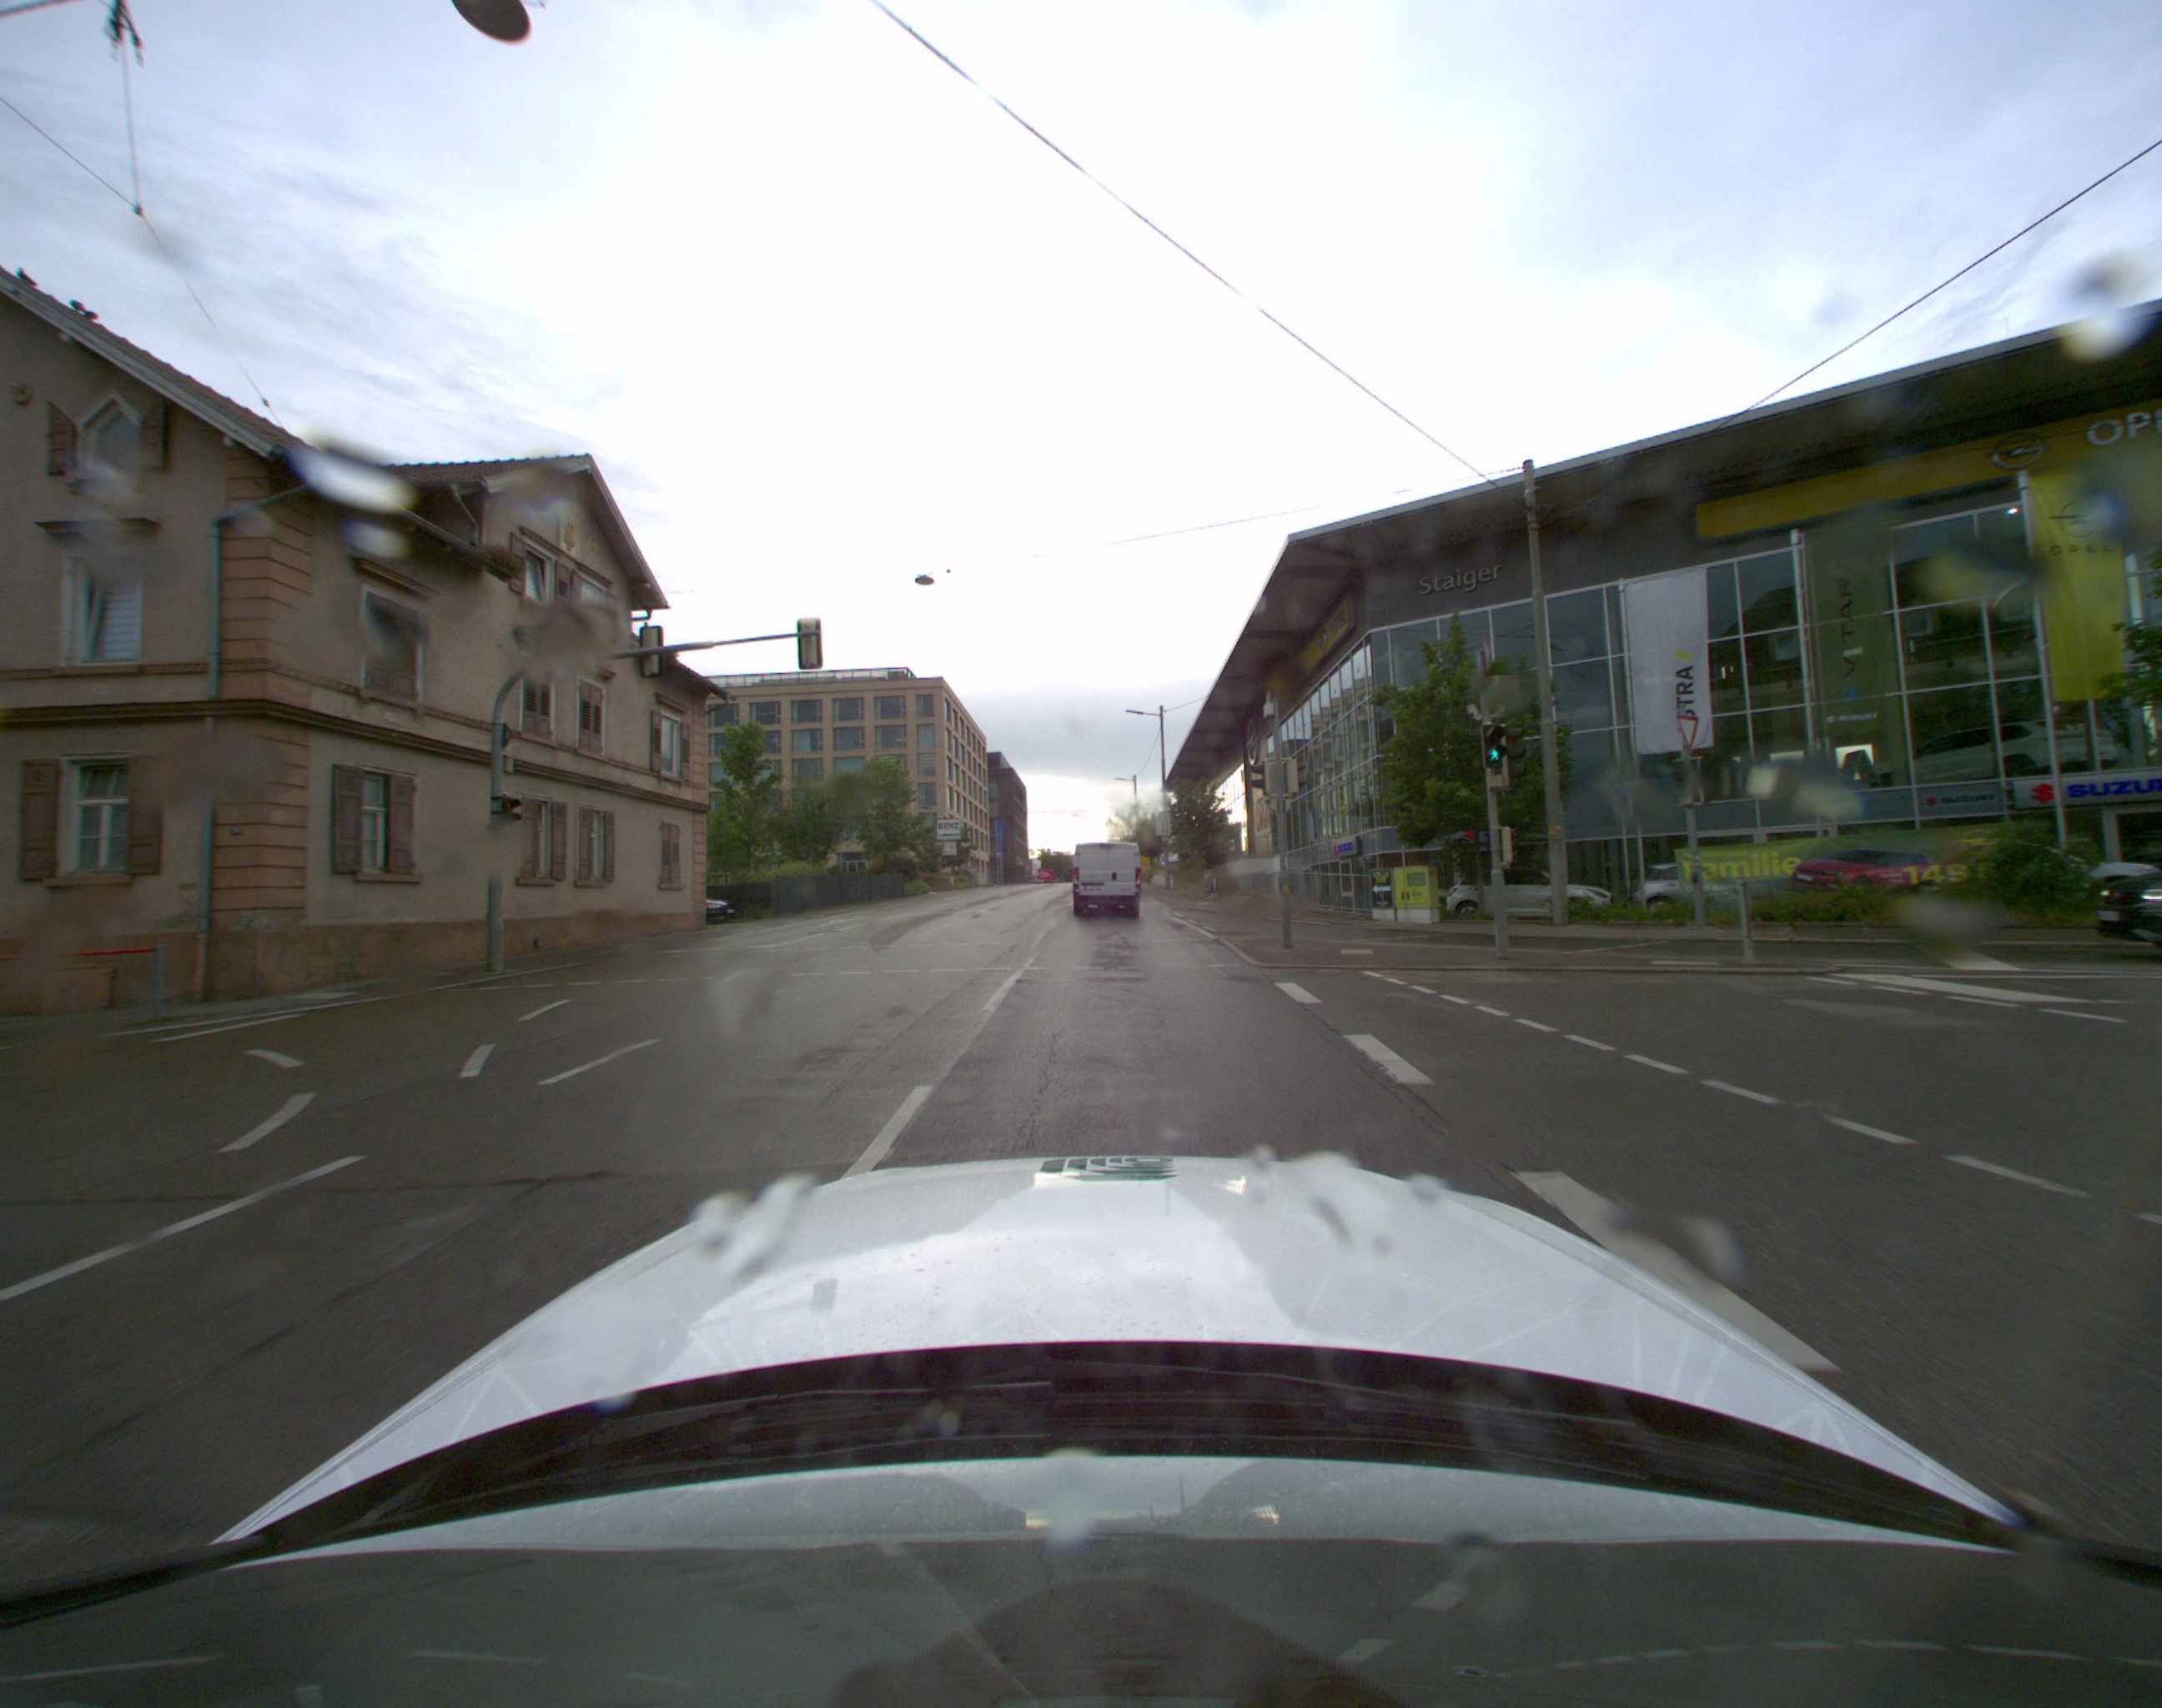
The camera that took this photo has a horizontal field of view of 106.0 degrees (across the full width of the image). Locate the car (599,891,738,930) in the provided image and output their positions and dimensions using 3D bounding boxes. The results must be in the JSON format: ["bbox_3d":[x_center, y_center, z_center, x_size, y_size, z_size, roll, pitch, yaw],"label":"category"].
[{"bbox_3d":[-14.203,1.936,28.191,3.978,1.163,1.605,-1,-2,-3],"label":"car"}]

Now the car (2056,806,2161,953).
[{"bbox_3d":[14.193,0.183,8.857,4.199,1.663,1.816,-4,-2,36],"label":"car"}]

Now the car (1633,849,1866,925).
[{"bbox_3d":[15.334,0.808,19.003,3.948,1.530,1.837,-4,-4,33],"label":"car"}]

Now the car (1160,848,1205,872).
[{"bbox_3d":[8.106,0.511,64.447,1.975,1.711,4.455,-5,-3,28],"label":"car"}]

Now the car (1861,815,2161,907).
[{"bbox_3d":[19.127,0.210,16.858,3.948,1.592,1.837,-4,-4,33],"label":"car"}]

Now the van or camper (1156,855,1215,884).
[{"bbox_3d":[10.674,1.602,83.189,5.716,2.724,2.352,-1,-2,1],"label":"van or camper"}]

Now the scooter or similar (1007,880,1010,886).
[{"bbox_3d":[-11.824,4.719,132.747,0.349,1.072,1.429,-1,-4,2],"label":"scooter or similar"}]

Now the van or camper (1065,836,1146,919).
[{"bbox_3d":[0.821,0.755,26.363,2.331,2.357,5.201,-1,-2,2],"label":"van or camper"}]

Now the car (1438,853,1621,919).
[{"bbox_3d":[11.590,0.900,21.245,3.949,1.508,1.909,-3,-5,29],"label":"car"}]
